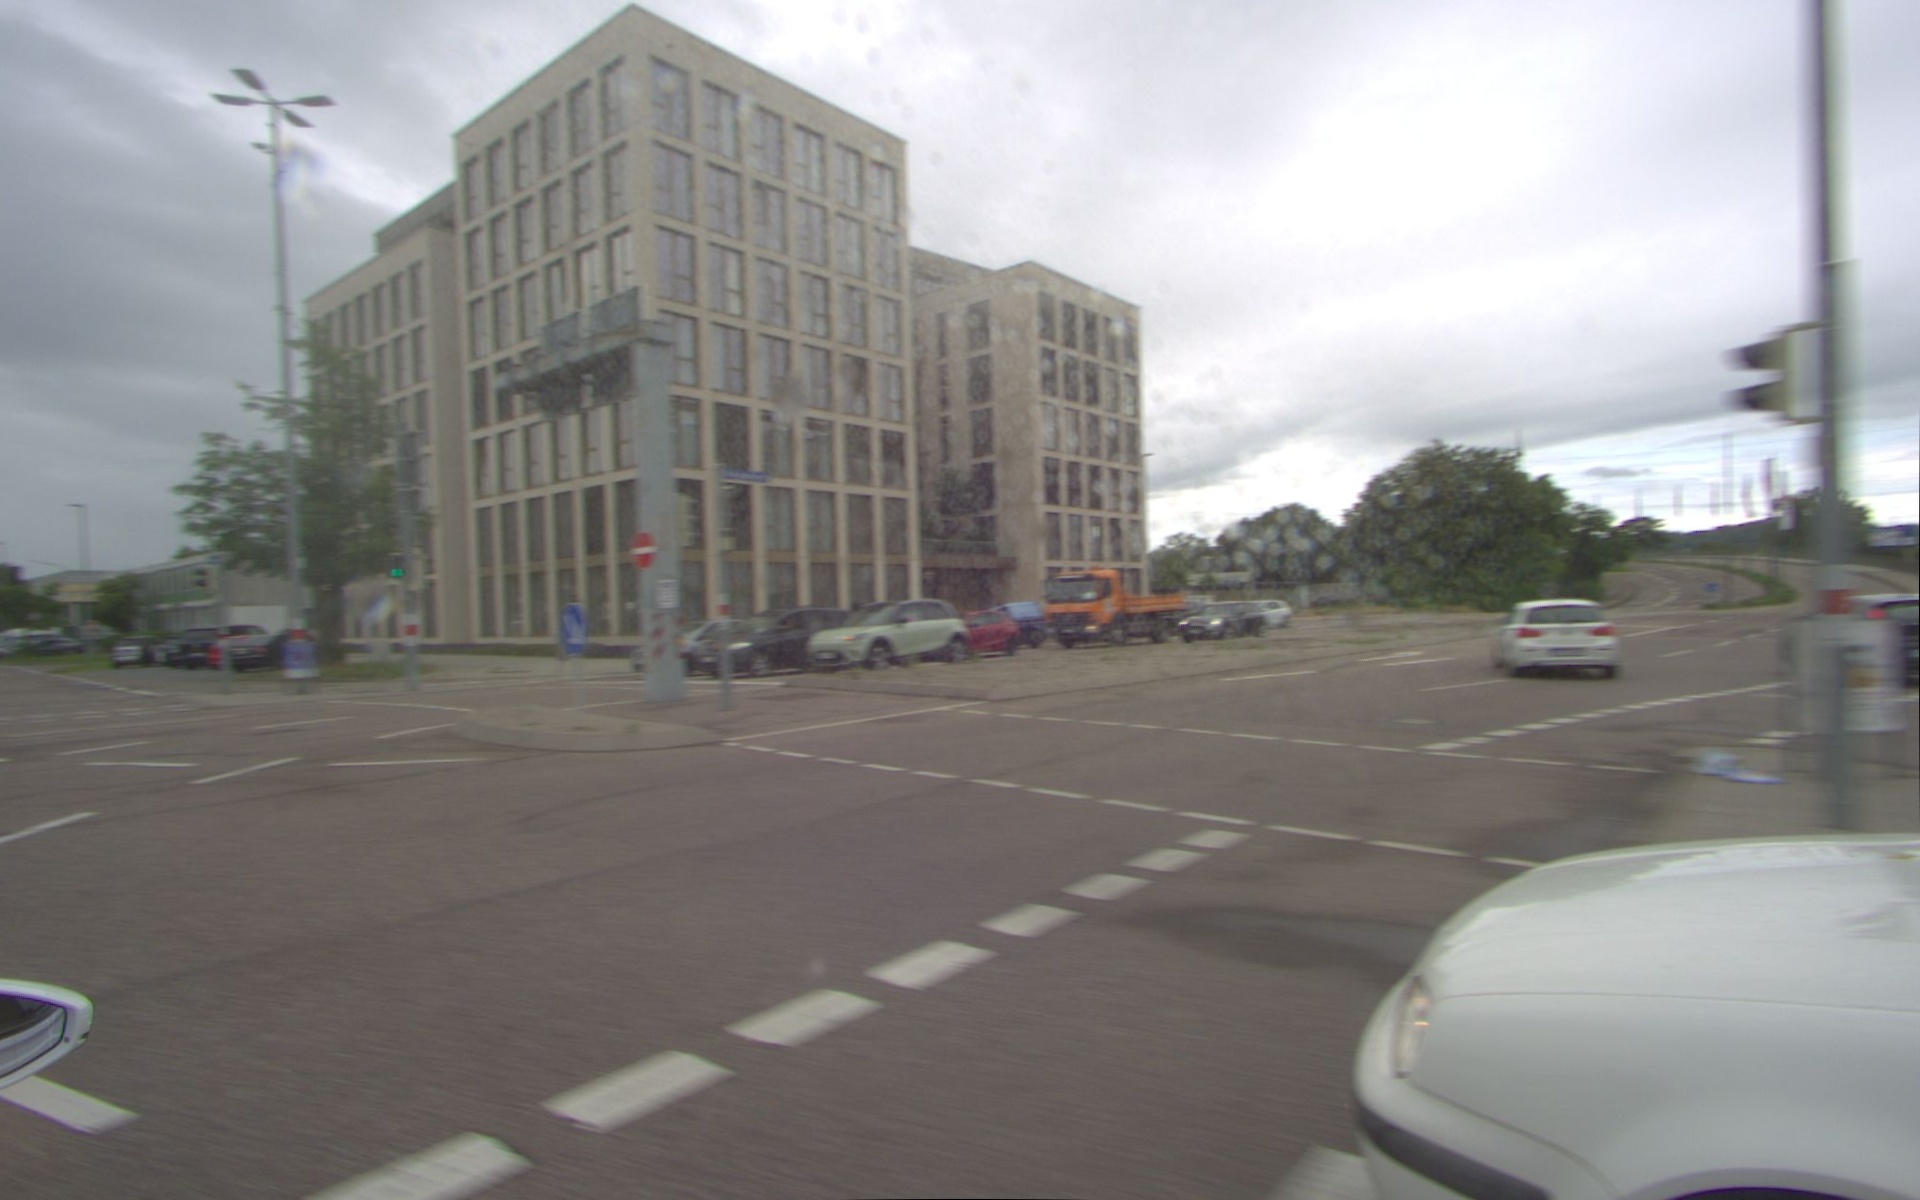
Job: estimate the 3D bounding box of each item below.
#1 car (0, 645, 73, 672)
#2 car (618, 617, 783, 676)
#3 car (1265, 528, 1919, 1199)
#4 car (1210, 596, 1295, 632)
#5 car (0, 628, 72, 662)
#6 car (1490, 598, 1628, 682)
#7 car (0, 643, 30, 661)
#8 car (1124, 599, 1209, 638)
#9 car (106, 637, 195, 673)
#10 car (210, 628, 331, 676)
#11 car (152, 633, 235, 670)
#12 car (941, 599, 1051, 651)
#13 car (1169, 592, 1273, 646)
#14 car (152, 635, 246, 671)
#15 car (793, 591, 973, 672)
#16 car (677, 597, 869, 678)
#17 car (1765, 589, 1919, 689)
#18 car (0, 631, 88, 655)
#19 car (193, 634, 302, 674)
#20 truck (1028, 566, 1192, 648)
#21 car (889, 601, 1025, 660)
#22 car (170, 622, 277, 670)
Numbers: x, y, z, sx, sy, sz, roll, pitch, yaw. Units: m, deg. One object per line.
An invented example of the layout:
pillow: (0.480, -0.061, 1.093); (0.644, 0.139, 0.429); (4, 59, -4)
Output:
car: (-75.165, 4.716, 80.811); (2.120, 2.039, 5.149); (-3, -3, 41)
car: (-6.872, 1.225, 26.834); (1.731, 1.450, 4.068); (-3, -3, 39)
car: (2.640, 0.616, 1.163); (3.961, 1.496, 1.824); (-4, -3, 41)
car: (14.912, 0.715, 50.978); (4.309, 1.678, 1.986); (0, -3, -38)
car: (-90.458, 4.351, 97.253); (2.111, 3.155, 6.086); (-3, -3, 42)
car: (11.519, 0.698, 19.517); (1.805, 1.429, 4.184); (-1, 0, 24)
car: (-108.252, 5.867, 112.951); (2.120, 1.915, 4.763); (-3, -3, 41)
car: (9.655, 0.863, 46.681); (1.981, 1.678, 4.082); (-4, -3, 44)
car: (-41.589, 2.830, 51.530); (1.732, 1.753, 3.436); (-2, -2, 2)
car: (-28.078, 2.077, 40.926); (1.852, 1.791, 4.134); (-2, -1, 4)
car: (-39.407, 2.633, 51.544); (1.560, 1.821, 3.436); (-2, -2, 2)
car: (1.393, 0.933, 37.048); (1.977, 1.791, 4.119); (-3, -3, 39)
car: (9.515, 0.706, 36.249); (1.977, 1.791, 4.389); (-3, -3, 39)
car: (-36.371, 2.510, 47.972); (1.664, 1.530, 3.818); (-2, -1, -3)
car: (-1.673, 0.739, 22.964); (1.882, 1.664, 4.040); (-3, -3, 38)
car: (-4.497, 0.927, 24.626); (1.977, 1.791, 4.389); (-3, -3, 39)
car: (15.232, 0.578, 16.585); (1.874, 1.468, 4.168); (-2, -1, 24)
car: (-71.133, 3.333, 77.588); (2.120, 1.741, 5.149); (-3, -3, 41)
car: (-31.230, 2.316, 44.044); (1.852, 1.571, 4.135); (-2, -1, -1)
truck: (5.625, 0.337, 36.722); (2.790, 2.671, 6.622); (-3, -3, 41)
car: (-0.039, 0.928, 29.974); (1.977, 1.621, 3.970); (-3, -3, 40)
car: (-33.684, 2.068, 45.934); (1.961, 1.990, 4.246); (-2, -1, -5)
